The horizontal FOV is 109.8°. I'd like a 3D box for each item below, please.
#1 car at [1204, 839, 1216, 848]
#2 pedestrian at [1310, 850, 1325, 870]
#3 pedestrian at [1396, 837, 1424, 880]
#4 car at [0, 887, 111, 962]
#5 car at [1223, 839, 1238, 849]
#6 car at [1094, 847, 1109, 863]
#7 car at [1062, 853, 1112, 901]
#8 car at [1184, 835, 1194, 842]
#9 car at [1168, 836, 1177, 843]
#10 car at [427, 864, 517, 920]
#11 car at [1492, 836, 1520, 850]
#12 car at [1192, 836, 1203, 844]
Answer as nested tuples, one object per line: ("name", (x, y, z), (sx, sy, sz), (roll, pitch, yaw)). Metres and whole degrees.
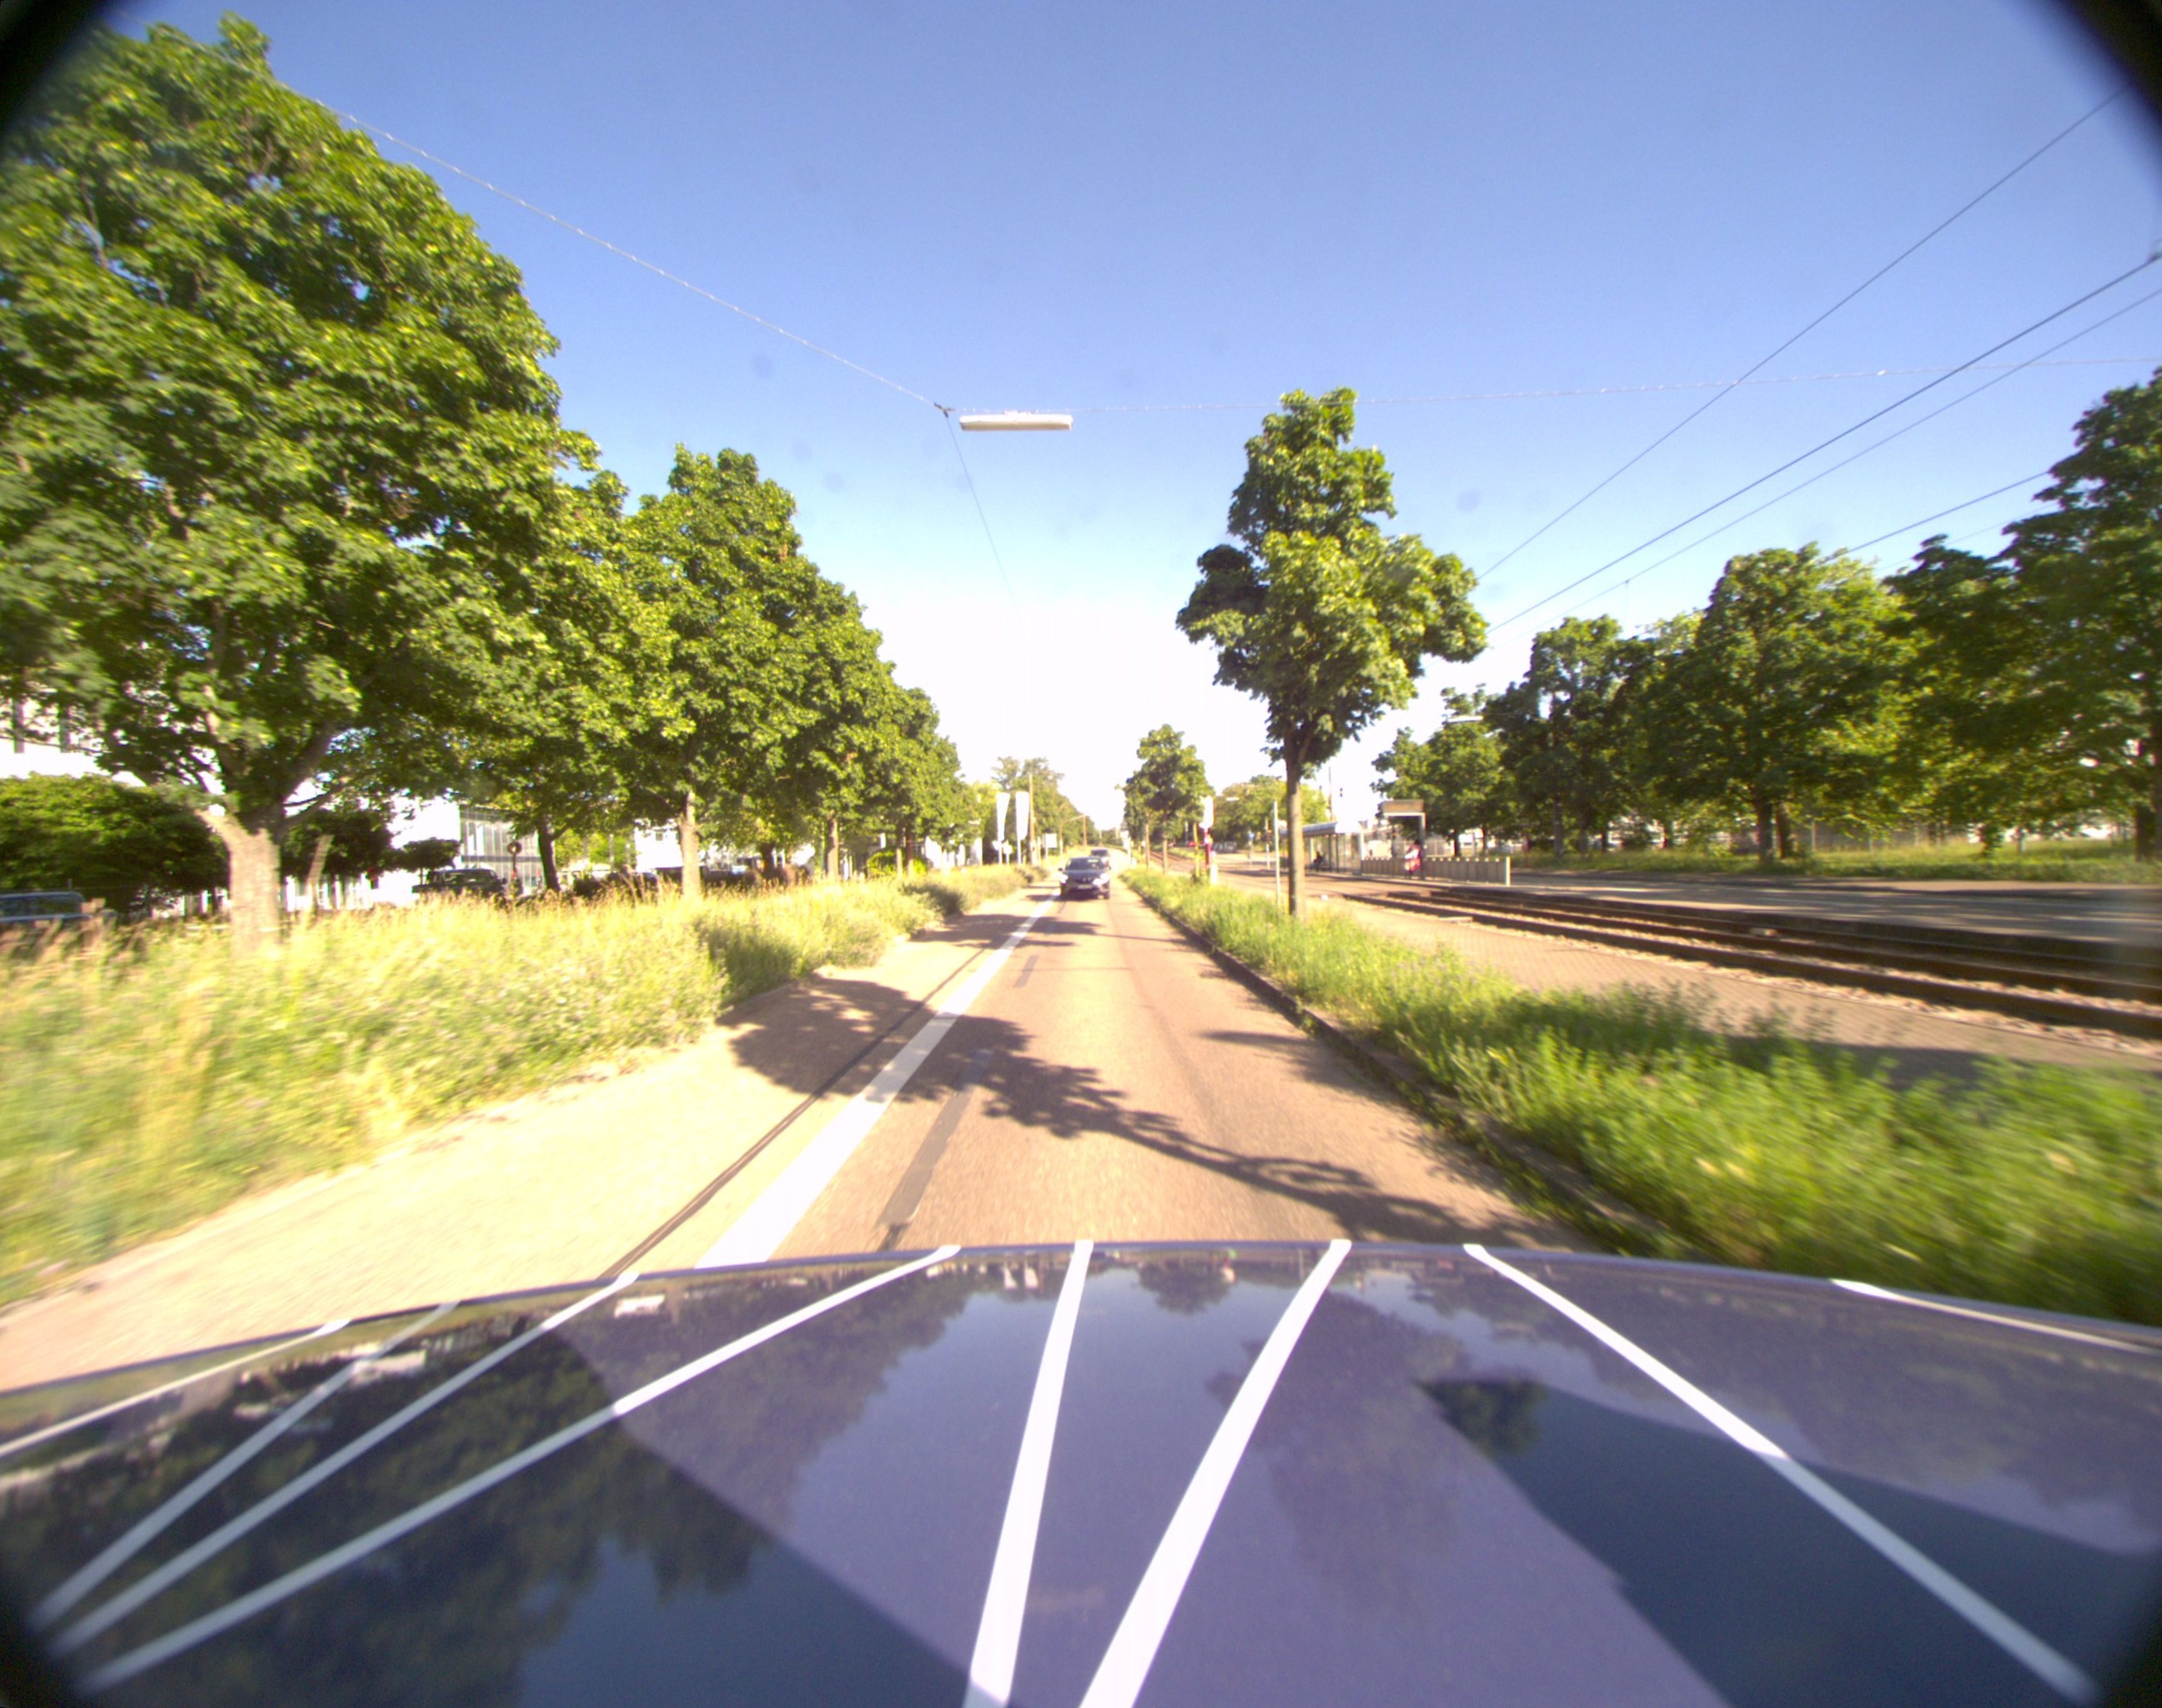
("car", (24.552, -2.023, 144.424), (1.701, 1.575, 3.456), (-1, 0, -1))
("pedestrian", (14.628, 0.369, 46.948), (0.650, 1.241, 0.681), (0, 0, -8))
("pedestrian", (13.960, 0.189, 32.253), (0.786, 1.741, 0.781), (-2, 1, 0))
("car", (-23.332, 1.510, 16.936), (4.537, 1.440, 1.851), (-2, 0, 35))
("car", (24.769, -1.682, 125.972), (1.772, 1.575, 3.456), (-1, 0, -1))
("car", (2.242, 0.127, 84.256), (1.555, 1.764, 3.456), (-1, 0, -1))
("car", (0.190, 0.820, 29.258), (1.750, 1.585, 4.246), (-2, 1, -1))
("car", (26.314, -3.732, 185.251), (1.701, 1.575, 3.456), (-1, 0, -1))
("car", (22.473, -3.612, 186.851), (1.701, 1.575, 3.456), (-1, 0, -1))
("car", (-23.195, 1.389, 28.839), (2.084, 1.865, 5.172), (-3, 1, -45))
("car", (51.929, -1.351, 92.853), (1.996, 1.696, 4.004), (-2, 0, 15))
("car", (25.484, -3.047, 166.230), (1.701, 1.575, 3.456), (-1, 0, -1))
